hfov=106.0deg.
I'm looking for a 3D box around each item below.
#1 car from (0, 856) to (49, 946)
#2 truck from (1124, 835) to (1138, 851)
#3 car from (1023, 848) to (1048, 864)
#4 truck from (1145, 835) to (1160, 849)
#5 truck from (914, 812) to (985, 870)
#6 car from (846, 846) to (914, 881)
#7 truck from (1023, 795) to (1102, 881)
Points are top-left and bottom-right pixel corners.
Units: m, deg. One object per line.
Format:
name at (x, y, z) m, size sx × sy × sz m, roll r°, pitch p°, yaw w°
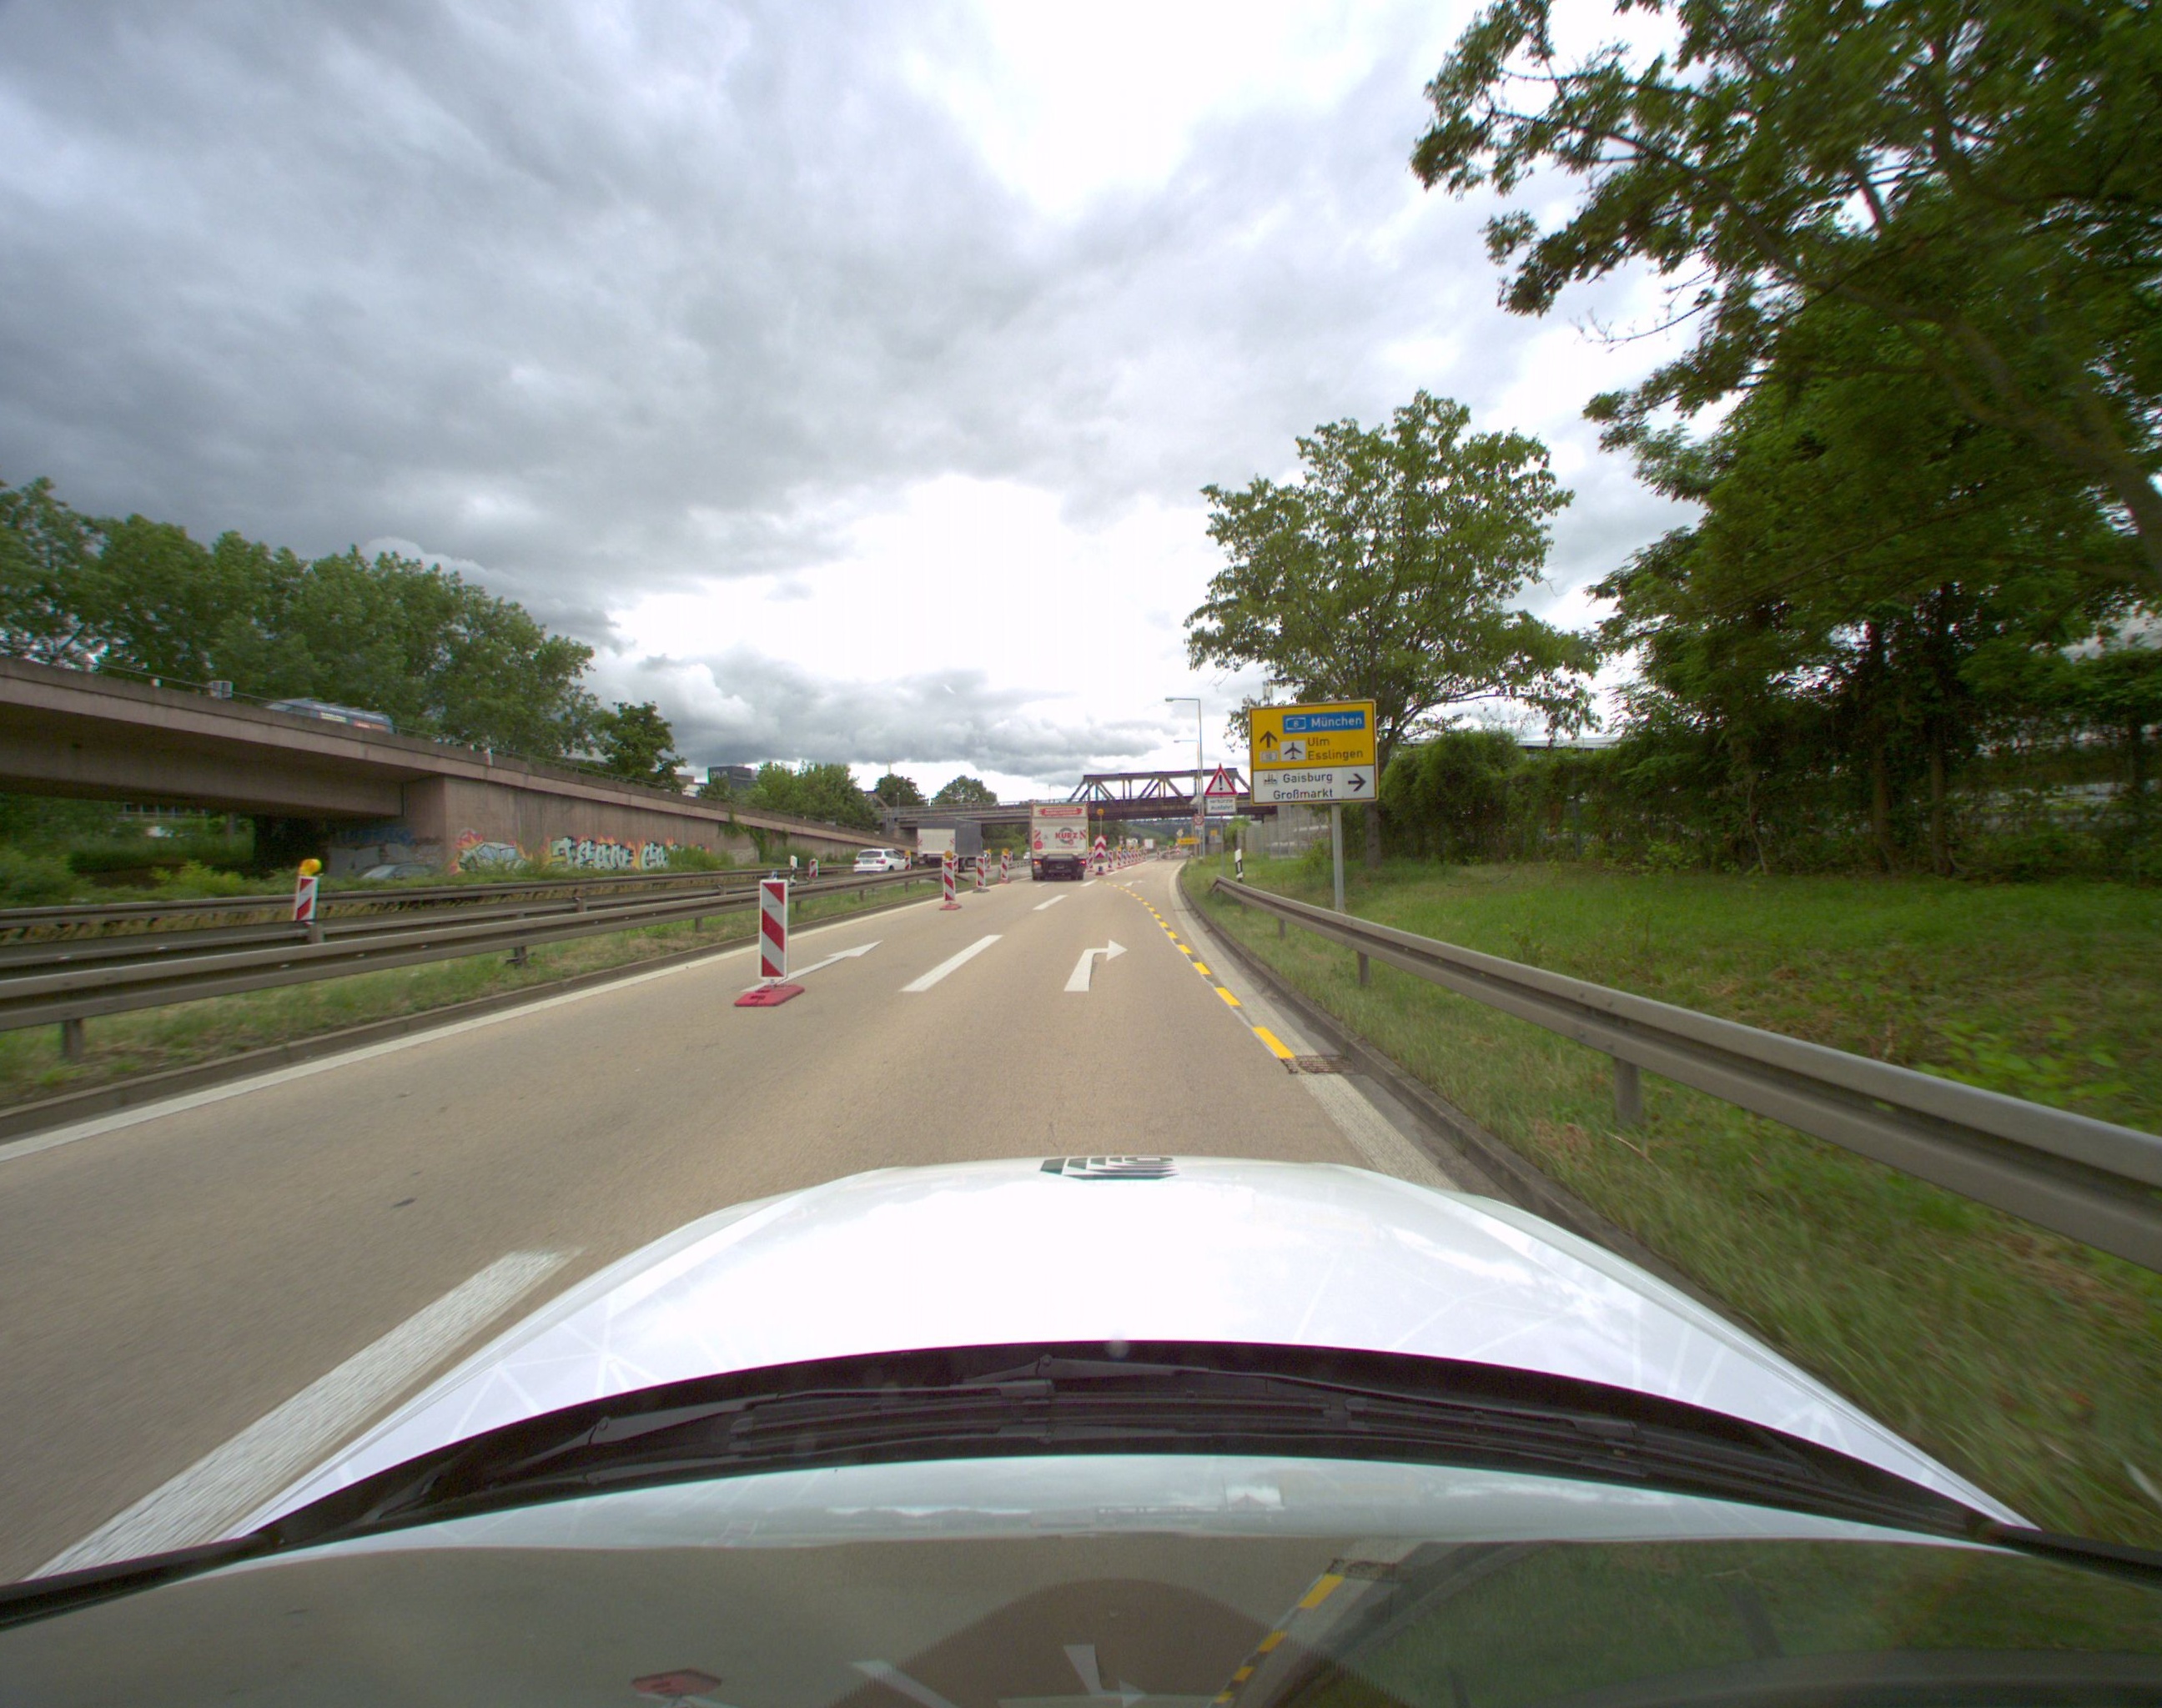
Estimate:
car at (-25.275, 1.068, 16.721) m, size 1.984 × 2.014 × 4.714 m, roll -1°, pitch 0°, yaw 4°
truck at (12.953, -2.786, 210.229) m, size 3.271 × 3.852 × 7.673 m, roll -1°, pitch 0°, yaw 4°
car at (-4.754, 0.221, 85.429) m, size 1.984 × 1.618 × 4.005 m, roll -1°, pitch 0°, yaw 4°
truck at (20.080, -3.402, 228.842) m, size 3.892 × 3.549 × 8.147 m, roll -1°, pitch 0°, yaw 3°
truck at (-8.881, -0.800, 56.008) m, size 3.036 × 3.656 × 7.405 m, roll -1°, pitch 0°, yaw 5°
car at (-10.466, 0.492, 42.649) m, size 1.982 × 1.712 × 4.111 m, roll -1°, pitch 0°, yaw 9°
truck at (-0.699, -0.659, 39.533) m, size 3.037 × 3.673 × 7.935 m, roll -1°, pitch -1°, yaw 4°
